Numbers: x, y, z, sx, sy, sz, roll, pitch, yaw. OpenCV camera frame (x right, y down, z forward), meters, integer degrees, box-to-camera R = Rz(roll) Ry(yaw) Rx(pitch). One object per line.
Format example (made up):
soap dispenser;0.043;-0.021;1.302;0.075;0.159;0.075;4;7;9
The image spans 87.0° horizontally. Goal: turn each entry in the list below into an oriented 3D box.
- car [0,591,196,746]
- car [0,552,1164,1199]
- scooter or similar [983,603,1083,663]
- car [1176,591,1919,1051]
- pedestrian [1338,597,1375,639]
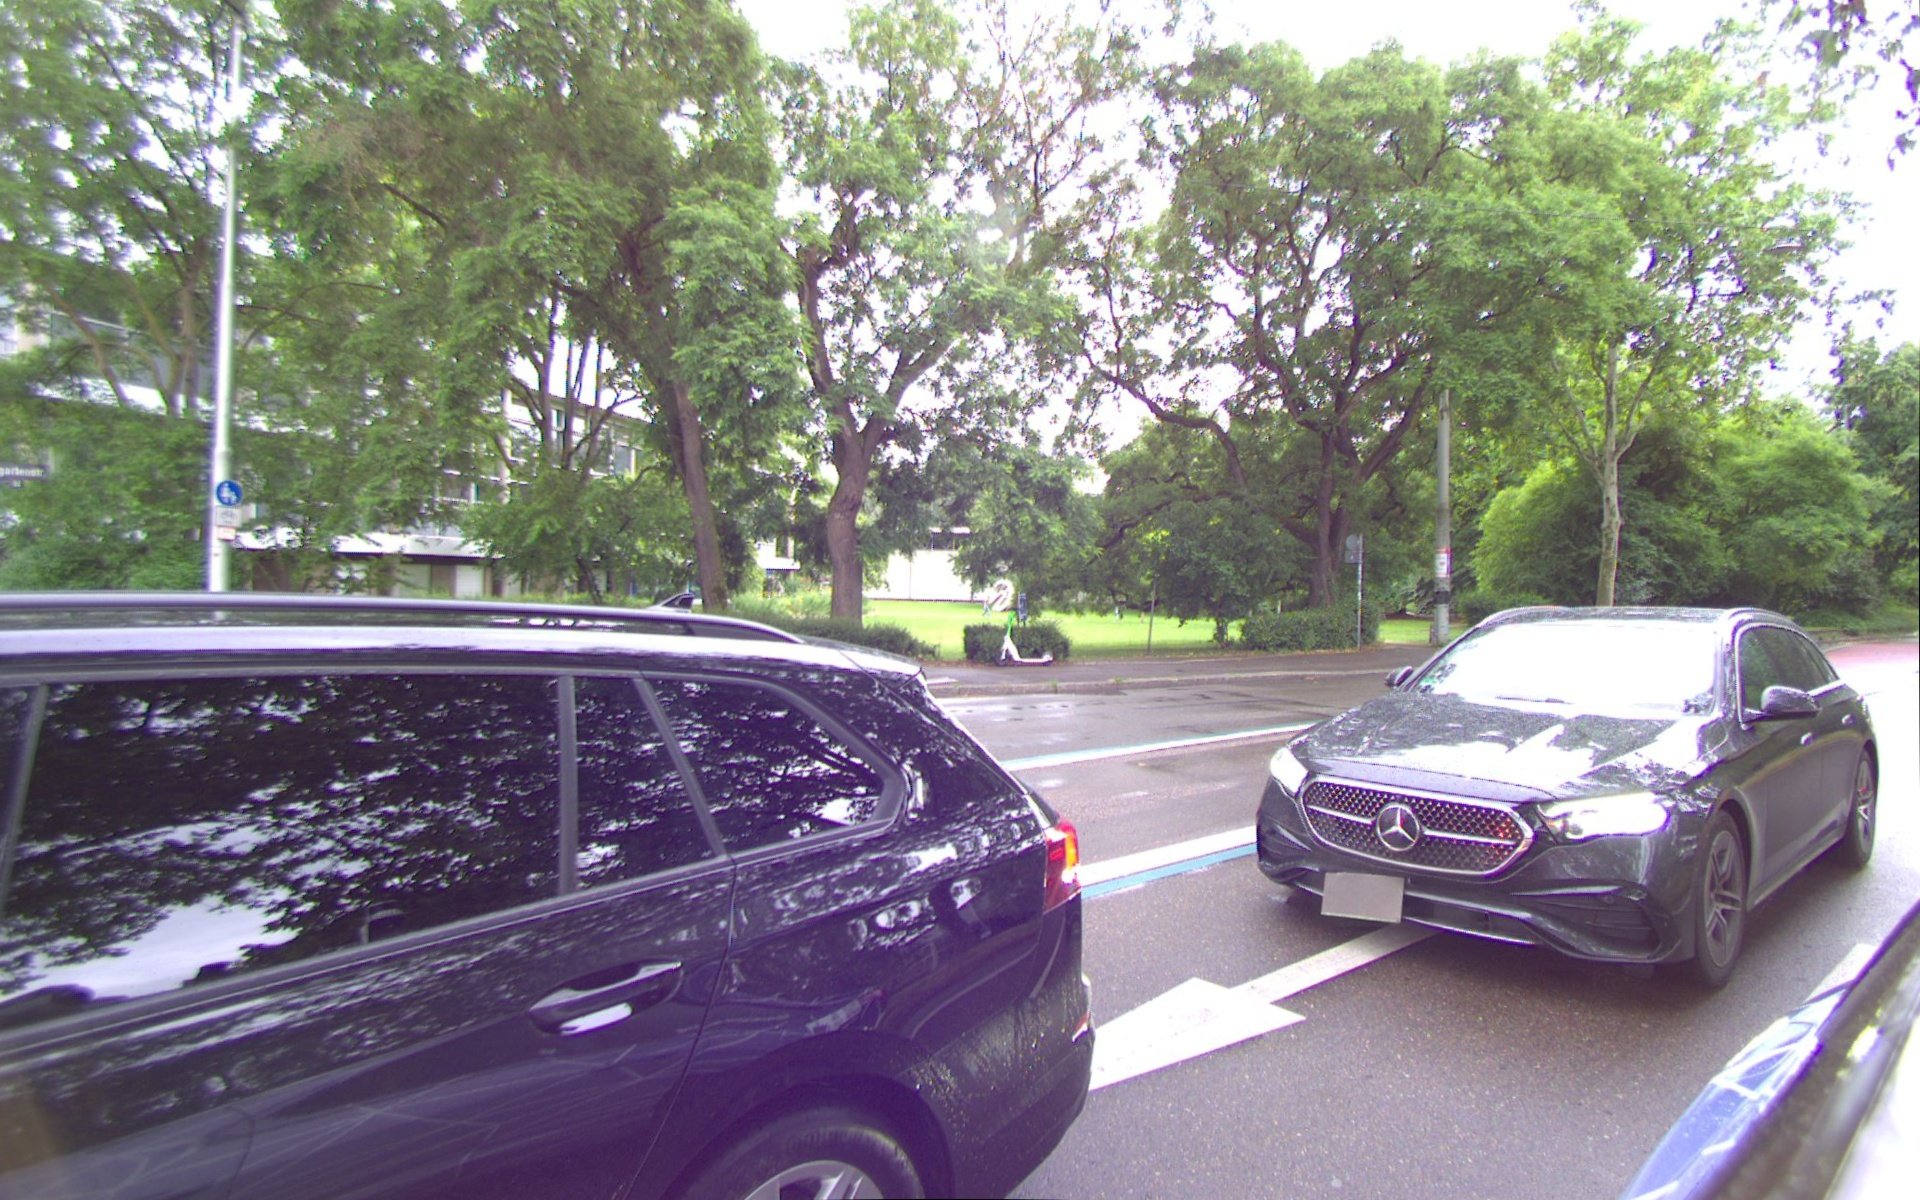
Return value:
car;-10.571;0.640;10.098;4.311;1.468;1.872;0;0;-19
car;-1.761;0.679;1.396;4.434;1.484;1.673;1;0;-42
scooter or similar;1.443;0.655;19.977;1.851;1.114;0.559;2;2;-19
car;3.480;0.711;5.482;4.840;1.464;1.884;0;-1;-38
pedestrian;15.803;0.694;40.333;1.038;1.626;1.071;-1;0;1
